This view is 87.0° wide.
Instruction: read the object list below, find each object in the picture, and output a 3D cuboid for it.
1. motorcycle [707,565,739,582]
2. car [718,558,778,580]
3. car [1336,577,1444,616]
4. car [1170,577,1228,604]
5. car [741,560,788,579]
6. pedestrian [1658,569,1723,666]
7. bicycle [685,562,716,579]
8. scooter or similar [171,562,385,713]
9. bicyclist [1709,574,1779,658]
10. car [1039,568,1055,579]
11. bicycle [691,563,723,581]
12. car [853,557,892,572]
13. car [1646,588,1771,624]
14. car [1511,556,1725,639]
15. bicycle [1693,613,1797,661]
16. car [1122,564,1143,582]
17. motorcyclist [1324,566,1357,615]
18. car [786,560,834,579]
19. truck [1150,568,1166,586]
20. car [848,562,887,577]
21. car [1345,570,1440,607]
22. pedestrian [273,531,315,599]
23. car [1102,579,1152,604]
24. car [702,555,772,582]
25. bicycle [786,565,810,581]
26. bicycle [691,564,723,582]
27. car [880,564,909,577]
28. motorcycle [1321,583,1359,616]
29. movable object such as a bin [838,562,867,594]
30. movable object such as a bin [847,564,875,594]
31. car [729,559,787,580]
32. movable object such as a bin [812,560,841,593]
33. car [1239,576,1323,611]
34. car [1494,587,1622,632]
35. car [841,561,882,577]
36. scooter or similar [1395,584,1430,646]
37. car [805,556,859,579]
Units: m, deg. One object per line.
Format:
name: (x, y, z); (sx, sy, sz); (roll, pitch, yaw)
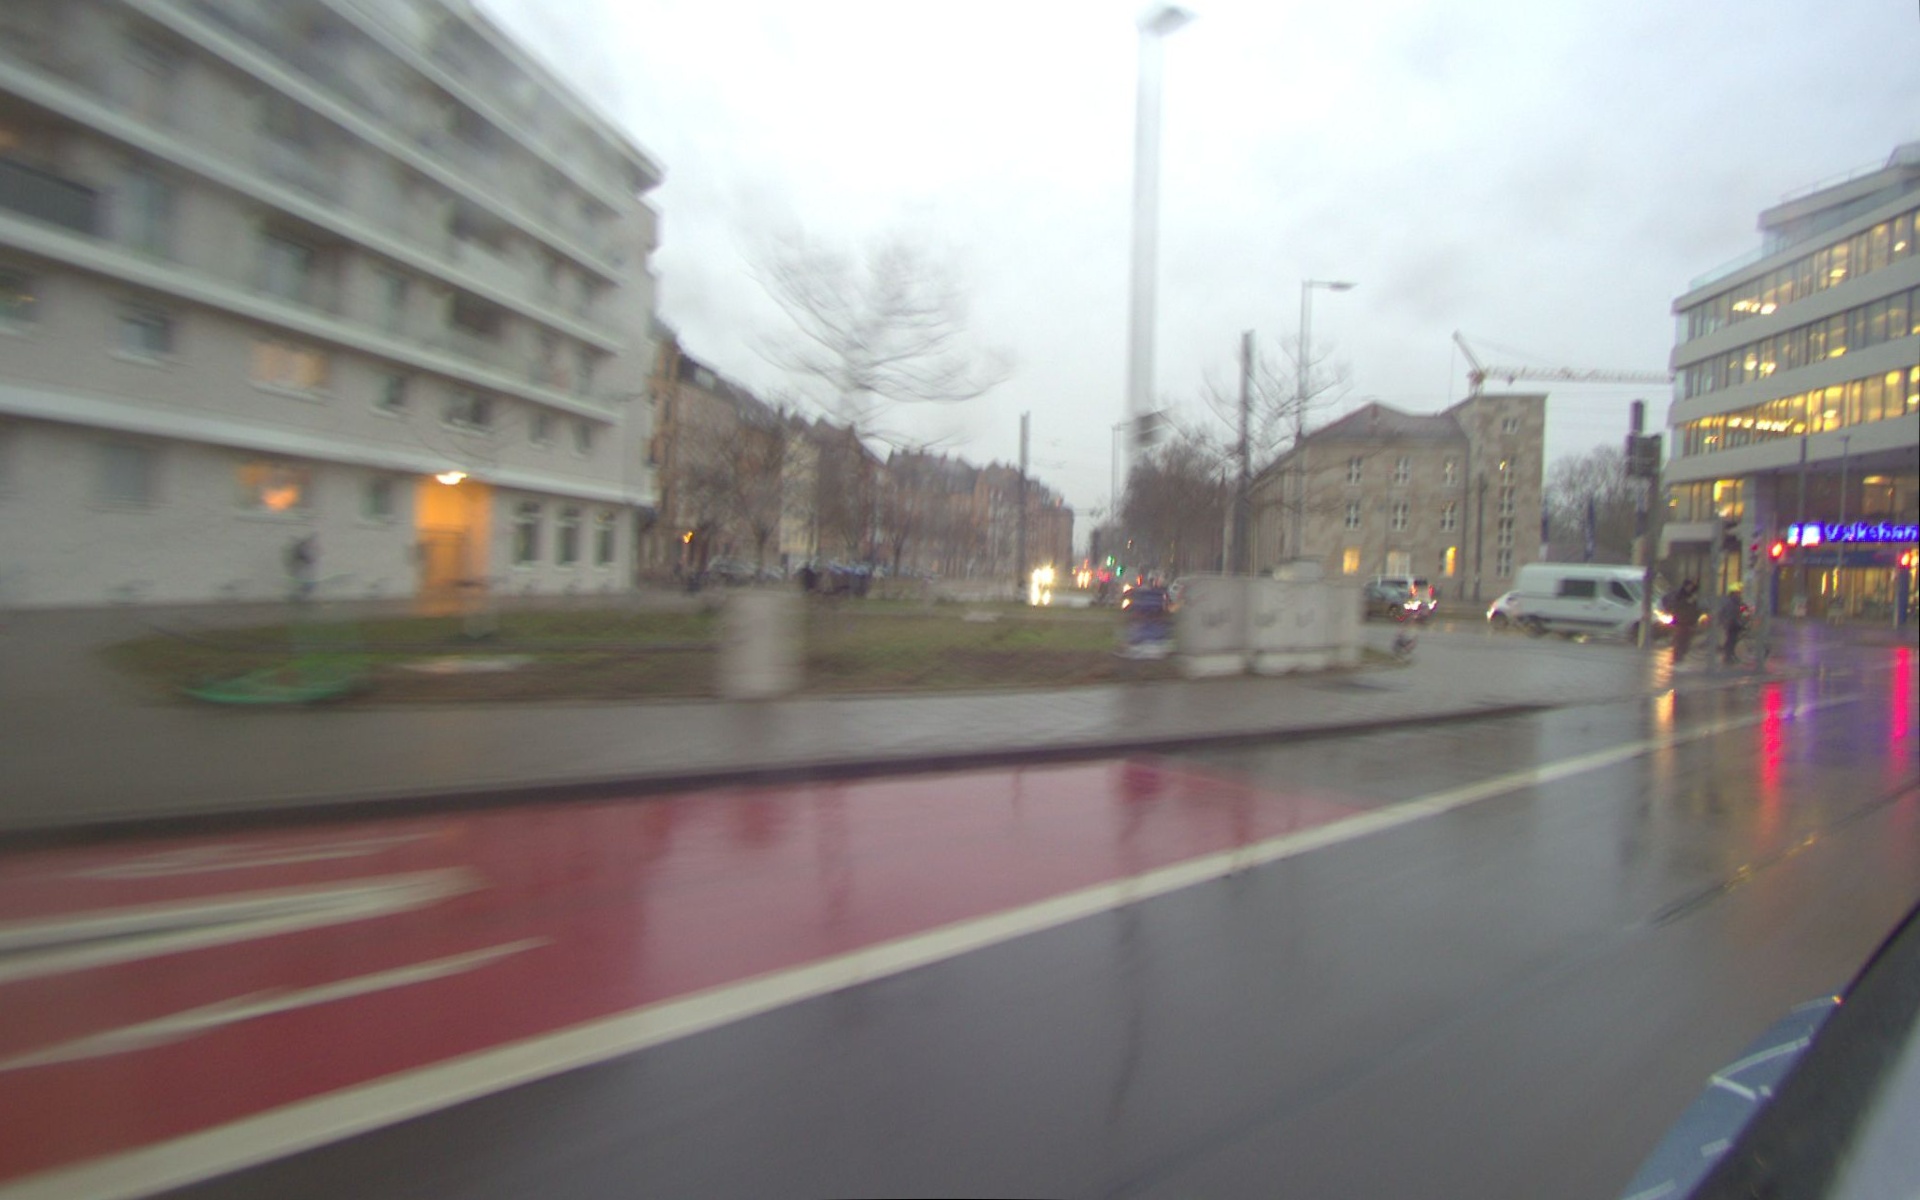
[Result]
motorcycle: (-14.172, -1.578, 60.505); (1.757, 0.943, 0.514); (3, 1, -21)
car: (-13.997, -2.048, 66.778); (3.611, 1.322, 1.746); (1, 2, -22)
car: (19.421, -0.202, 45.873); (1.789, 1.589, 4.370); (1, 2, -26)
car: (13.630, -0.568, 57.848); (1.655, 1.448, 3.355); (0, 2, -18)
car: (-14.834, -2.287, 76.670); (3.231, 1.322, 1.525); (1, 2, -20)
pedestrian: (14.748, 0.340, 20.444); (0.762, 1.901, 0.634); (2, 1, 4)
bicycle: (-15.856, -1.790, 61.789); (1.758, 0.943, 0.447); (3, 1, -15)
scooter or similar: (-6.045, 0.289, 9.075); (1.526, 1.241, 0.671); (-1, 3, -30)
bicyclist: (18.625, 0.368, 24.055); (0.776, 1.914, 0.991); (1, 1, -19)
car: (11.340, -3.427, 131.663); (1.725, 1.387, 3.604); (2, 2, 11)
bicycle: (-14.743, -1.629, 58.876); (1.758, 0.943, 0.447); (3, 1, -15)
car: (-8.783, -3.530, 101.838); (3.538, 1.387, 1.621); (1, 2, -22)
car: (34.703, 0.257, 47.058); (1.595, 1.462, 4.433); (1, 2, -23)
car: (21.863, -0.176, 33.975); (2.197, 2.493, 5.681); (0, 2, -25)
bicycle: (18.552, 0.857, 23.975); (0.643, 0.985, 1.871); (1, 2, -19)
car: (19.034, -3.014, 111.934); (1.871, 1.894, 4.957); (0, 2, 5)
motorcyclist: (14.949, -0.383, 39.802); (0.869, 1.905, 0.922); (2, 1, -1)
car: (-12.110, -2.479, 81.750); (3.610, 1.417, 1.525); (1, 2, -20)
truck: (23.877, -2.837, 122.261); (1.810, 2.069, 3.987); (2, 2, 12)
car: (-9.083, -2.959, 98.952); (3.538, 1.387, 1.622); (1, 2, -17)
car: (26.574, -0.759, 62.439); (1.912, 2.084, 5.675); (1, 2, -21)
pedestrian: (-16.747, -0.876, 25.474); (0.707, 1.652, 0.634); (1, 1, -16)
car: (10.723, -0.584, 65.326); (1.838, 1.493, 4.179); (1, 2, -11)
car: (-14.176, -1.984, 64.259); (4.069, 1.589, 1.746); (1, 2, -22)
bicycle: (-11.004, -1.811, 68.866); (0.532, 1.031, 1.888); (4, 2, 28)
bicycle: (-14.596, -1.549, 58.357); (1.758, 0.943, 0.447); (3, 1, -15)
car: (-7.431, -3.342, 115.095); (3.120, 1.446, 1.431); (1, 2, -13)
motorcycle: (14.983, -0.040, 39.957); (0.475, 1.198, 2.411); (2, 2, -2)
movable object such as a bin: (-5.282, -1.069, 49.938); (1.038, 1.529, 1.247); (2, 1, 14)
movable object such as a bin: (-5.017, -1.066, 51.442); (1.038, 1.449, 1.220); (2, 1, 15)
car: (-13.840, -2.067, 69.283); (3.611, 1.322, 1.672); (1, 2, -22)
movable object such as a bin: (-6.633, -1.184, 50.328); (1.038, 1.595, 1.135); (2, 1, 15)
car: (16.421, -0.355, 51.974); (1.642, 1.619, 4.231); (1, 2, -26)
car: (23.068, 0.316, 39.185); (1.729, 1.481, 3.923); (-1, 3, -30)
car: (-9.381, -2.922, 96.327); (3.538, 1.387, 1.622); (1, 2, -17)
scooter or similar: (9.349, 0.290, 20.897); (0.332, 1.221, 1.291); (3, 2, 37)
car: (-11.064, -2.799, 87.598); (4.254, 1.790, 1.785); (1, 2, -21)
